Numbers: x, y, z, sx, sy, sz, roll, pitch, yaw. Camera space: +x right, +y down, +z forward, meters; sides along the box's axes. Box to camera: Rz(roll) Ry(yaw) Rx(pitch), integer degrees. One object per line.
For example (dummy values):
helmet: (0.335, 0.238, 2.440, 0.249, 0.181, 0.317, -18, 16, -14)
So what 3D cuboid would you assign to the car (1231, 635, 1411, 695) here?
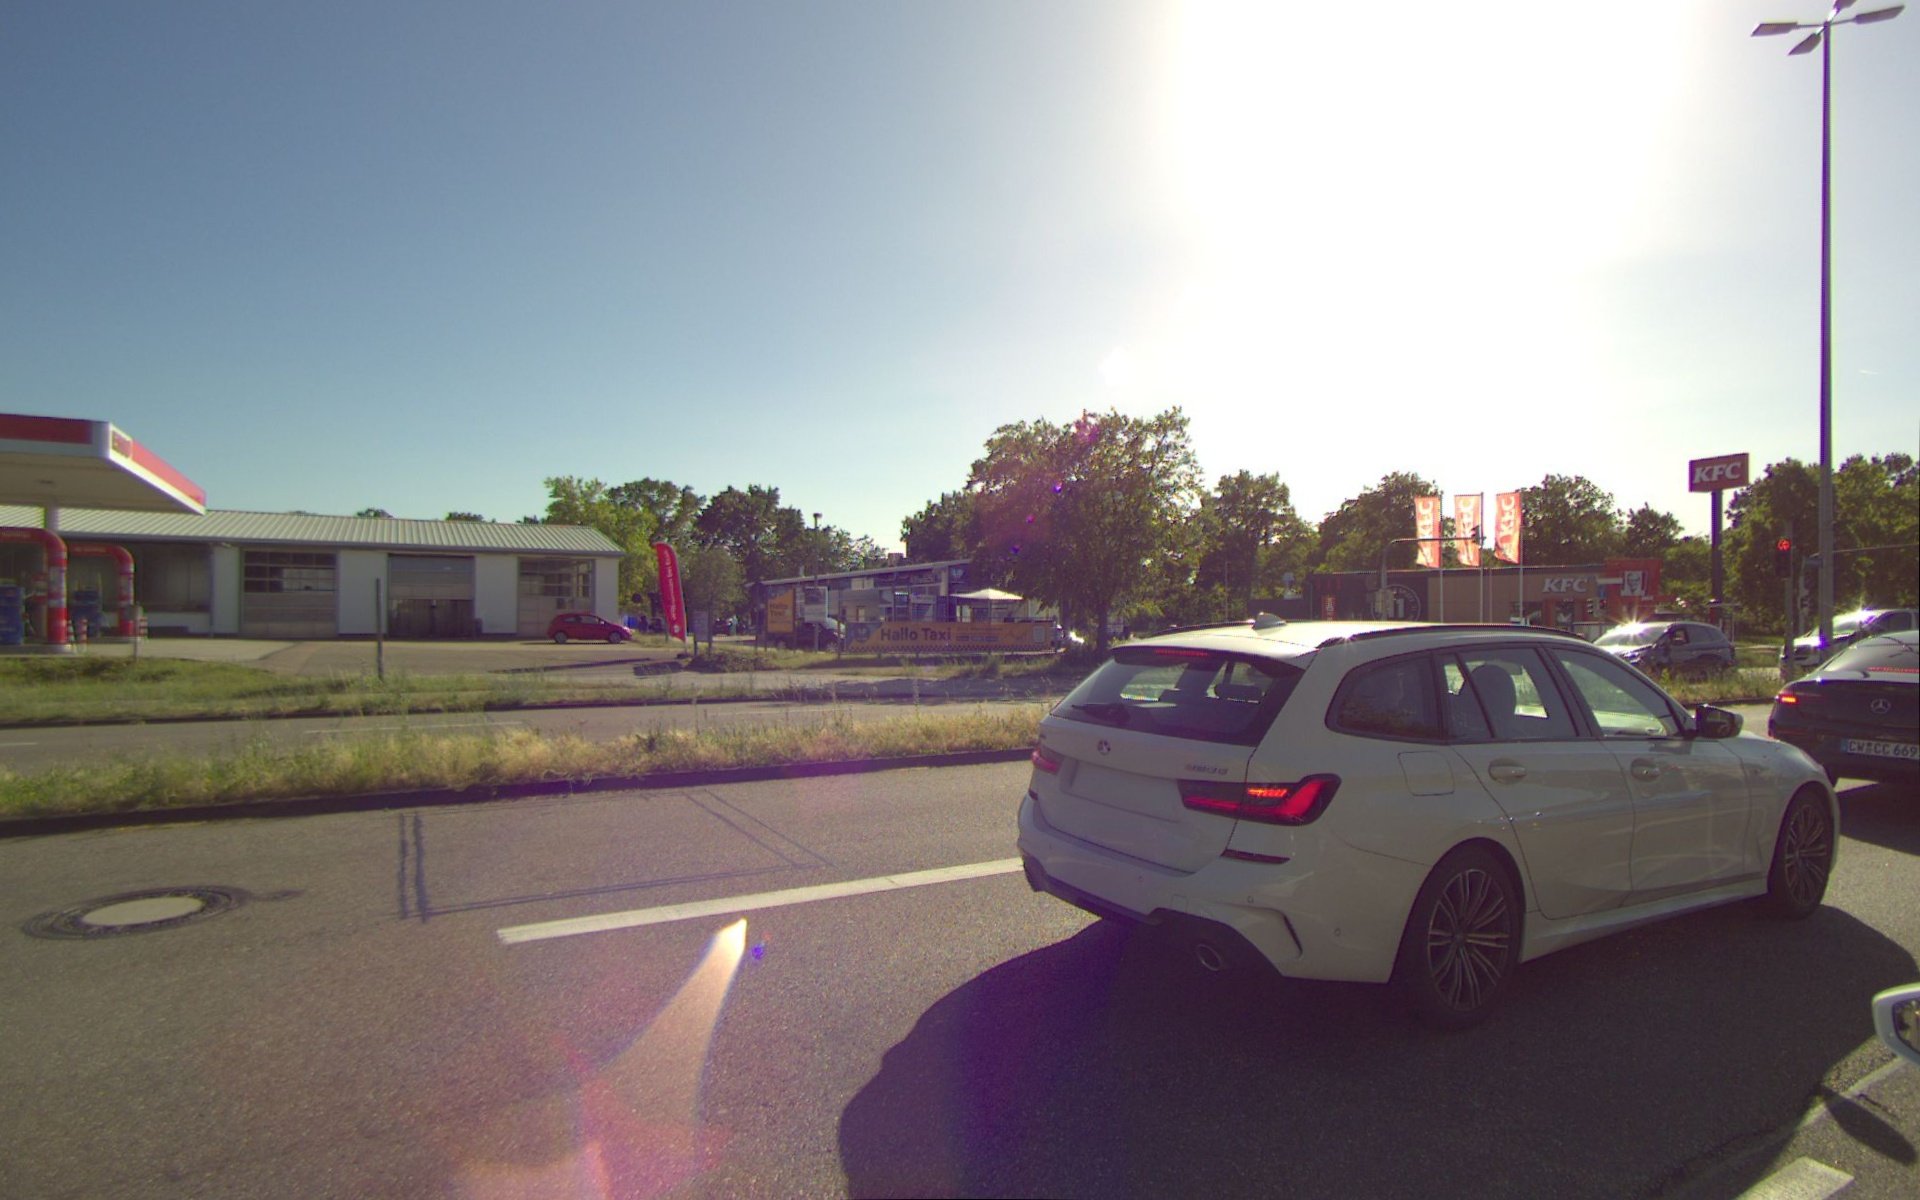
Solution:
car: (9.740, 1.695, 27.079, 4.543, 1.465, 1.899, 1, -1, -24)

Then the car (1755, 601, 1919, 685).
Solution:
car: (23.733, 1.083, 25.757, 4.924, 2.040, 2.001, 1, -1, 7)

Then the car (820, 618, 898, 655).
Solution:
car: (-3.739, 1.314, 36.875, 1.625, 1.301, 3.122, 1, -1, -32)

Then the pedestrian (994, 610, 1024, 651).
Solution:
pedestrian: (2.198, 1.354, 45.185, 0.916, 1.840, 1.013, 1, -1, -34)

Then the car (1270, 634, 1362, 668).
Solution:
car: (17.016, 2.397, 48.163, 1.801, 1.448, 4.022, 1, -1, -27)

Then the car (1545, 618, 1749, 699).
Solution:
car: (15.738, 1.283, 23.006, 4.374, 1.712, 1.874, 1, -1, -24)

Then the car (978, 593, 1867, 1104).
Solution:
car: (2.416, 0.789, 4.902, 4.409, 1.529, 1.760, 1, -1, -30)

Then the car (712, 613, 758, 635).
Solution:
car: (-19.727, 2.118, 88.176, 2.085, 1.840, 4.000, 0, -1, 20)

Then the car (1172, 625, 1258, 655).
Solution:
car: (13.783, 2.117, 54.521, 1.840, 1.449, 4.700, 0, 0, -28)

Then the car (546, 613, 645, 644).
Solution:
car: (-17.979, 1.408, 49.573, 4.486, 1.458, 1.741, 1, -1, -26)

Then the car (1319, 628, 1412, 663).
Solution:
car: (20.062, 2.217, 49.853, 1.804, 1.616, 4.016, 1, -1, -32)

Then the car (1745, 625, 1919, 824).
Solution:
car: (8.794, 0.956, 8.623, 4.409, 1.433, 1.760, 1, -1, -30)

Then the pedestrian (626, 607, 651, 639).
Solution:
pedestrian: (-18.495, 1.323, 57.746, 1.088, 1.787, 1.149, 1, -1, -33)
